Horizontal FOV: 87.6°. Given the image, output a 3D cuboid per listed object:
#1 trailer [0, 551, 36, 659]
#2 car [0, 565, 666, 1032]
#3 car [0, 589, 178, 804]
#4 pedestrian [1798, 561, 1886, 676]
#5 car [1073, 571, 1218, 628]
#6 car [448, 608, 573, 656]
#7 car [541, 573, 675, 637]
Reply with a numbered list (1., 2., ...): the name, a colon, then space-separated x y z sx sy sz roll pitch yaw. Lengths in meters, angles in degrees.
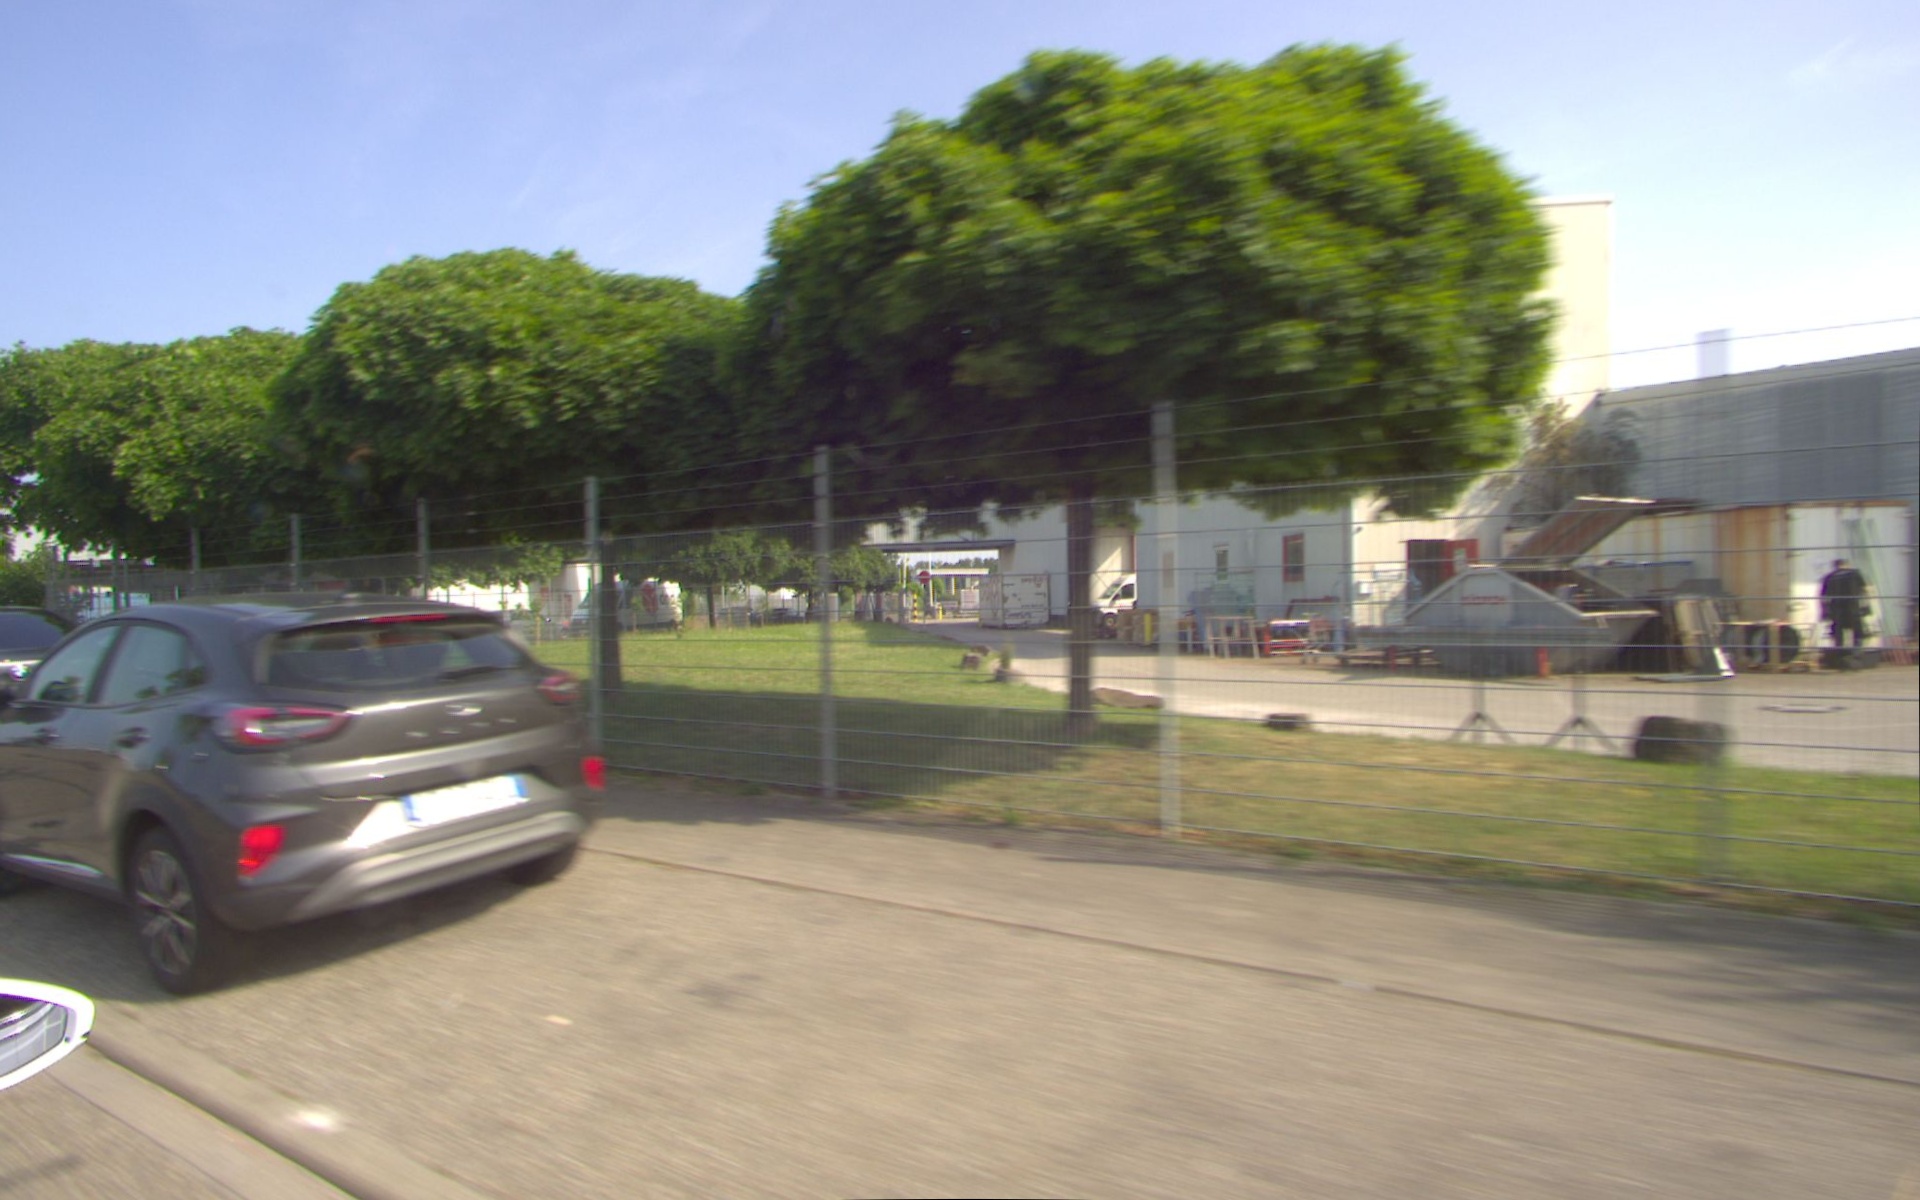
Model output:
1. trailer: -37.190 0.201 33.953 2.724 3.943 8.560 -3 -1 11
2. car: -3.695 0.705 5.289 4.055 1.595 1.876 -2 1 32
3. car: -9.251 0.793 9.014 5.046 1.595 1.876 -2 1 33
4. pedestrian: 13.743 0.281 15.631 0.620 1.745 0.858 -1 1 1
5. car: 8.972 -0.018 48.638 6.573 2.551 2.173 -2 0 -9
6. car: -16.032 1.109 36.026 1.696 1.537 4.489 -3 -1 13
7. car: -15.015 0.222 43.292 2.166 2.516 6.843 1 0 13
